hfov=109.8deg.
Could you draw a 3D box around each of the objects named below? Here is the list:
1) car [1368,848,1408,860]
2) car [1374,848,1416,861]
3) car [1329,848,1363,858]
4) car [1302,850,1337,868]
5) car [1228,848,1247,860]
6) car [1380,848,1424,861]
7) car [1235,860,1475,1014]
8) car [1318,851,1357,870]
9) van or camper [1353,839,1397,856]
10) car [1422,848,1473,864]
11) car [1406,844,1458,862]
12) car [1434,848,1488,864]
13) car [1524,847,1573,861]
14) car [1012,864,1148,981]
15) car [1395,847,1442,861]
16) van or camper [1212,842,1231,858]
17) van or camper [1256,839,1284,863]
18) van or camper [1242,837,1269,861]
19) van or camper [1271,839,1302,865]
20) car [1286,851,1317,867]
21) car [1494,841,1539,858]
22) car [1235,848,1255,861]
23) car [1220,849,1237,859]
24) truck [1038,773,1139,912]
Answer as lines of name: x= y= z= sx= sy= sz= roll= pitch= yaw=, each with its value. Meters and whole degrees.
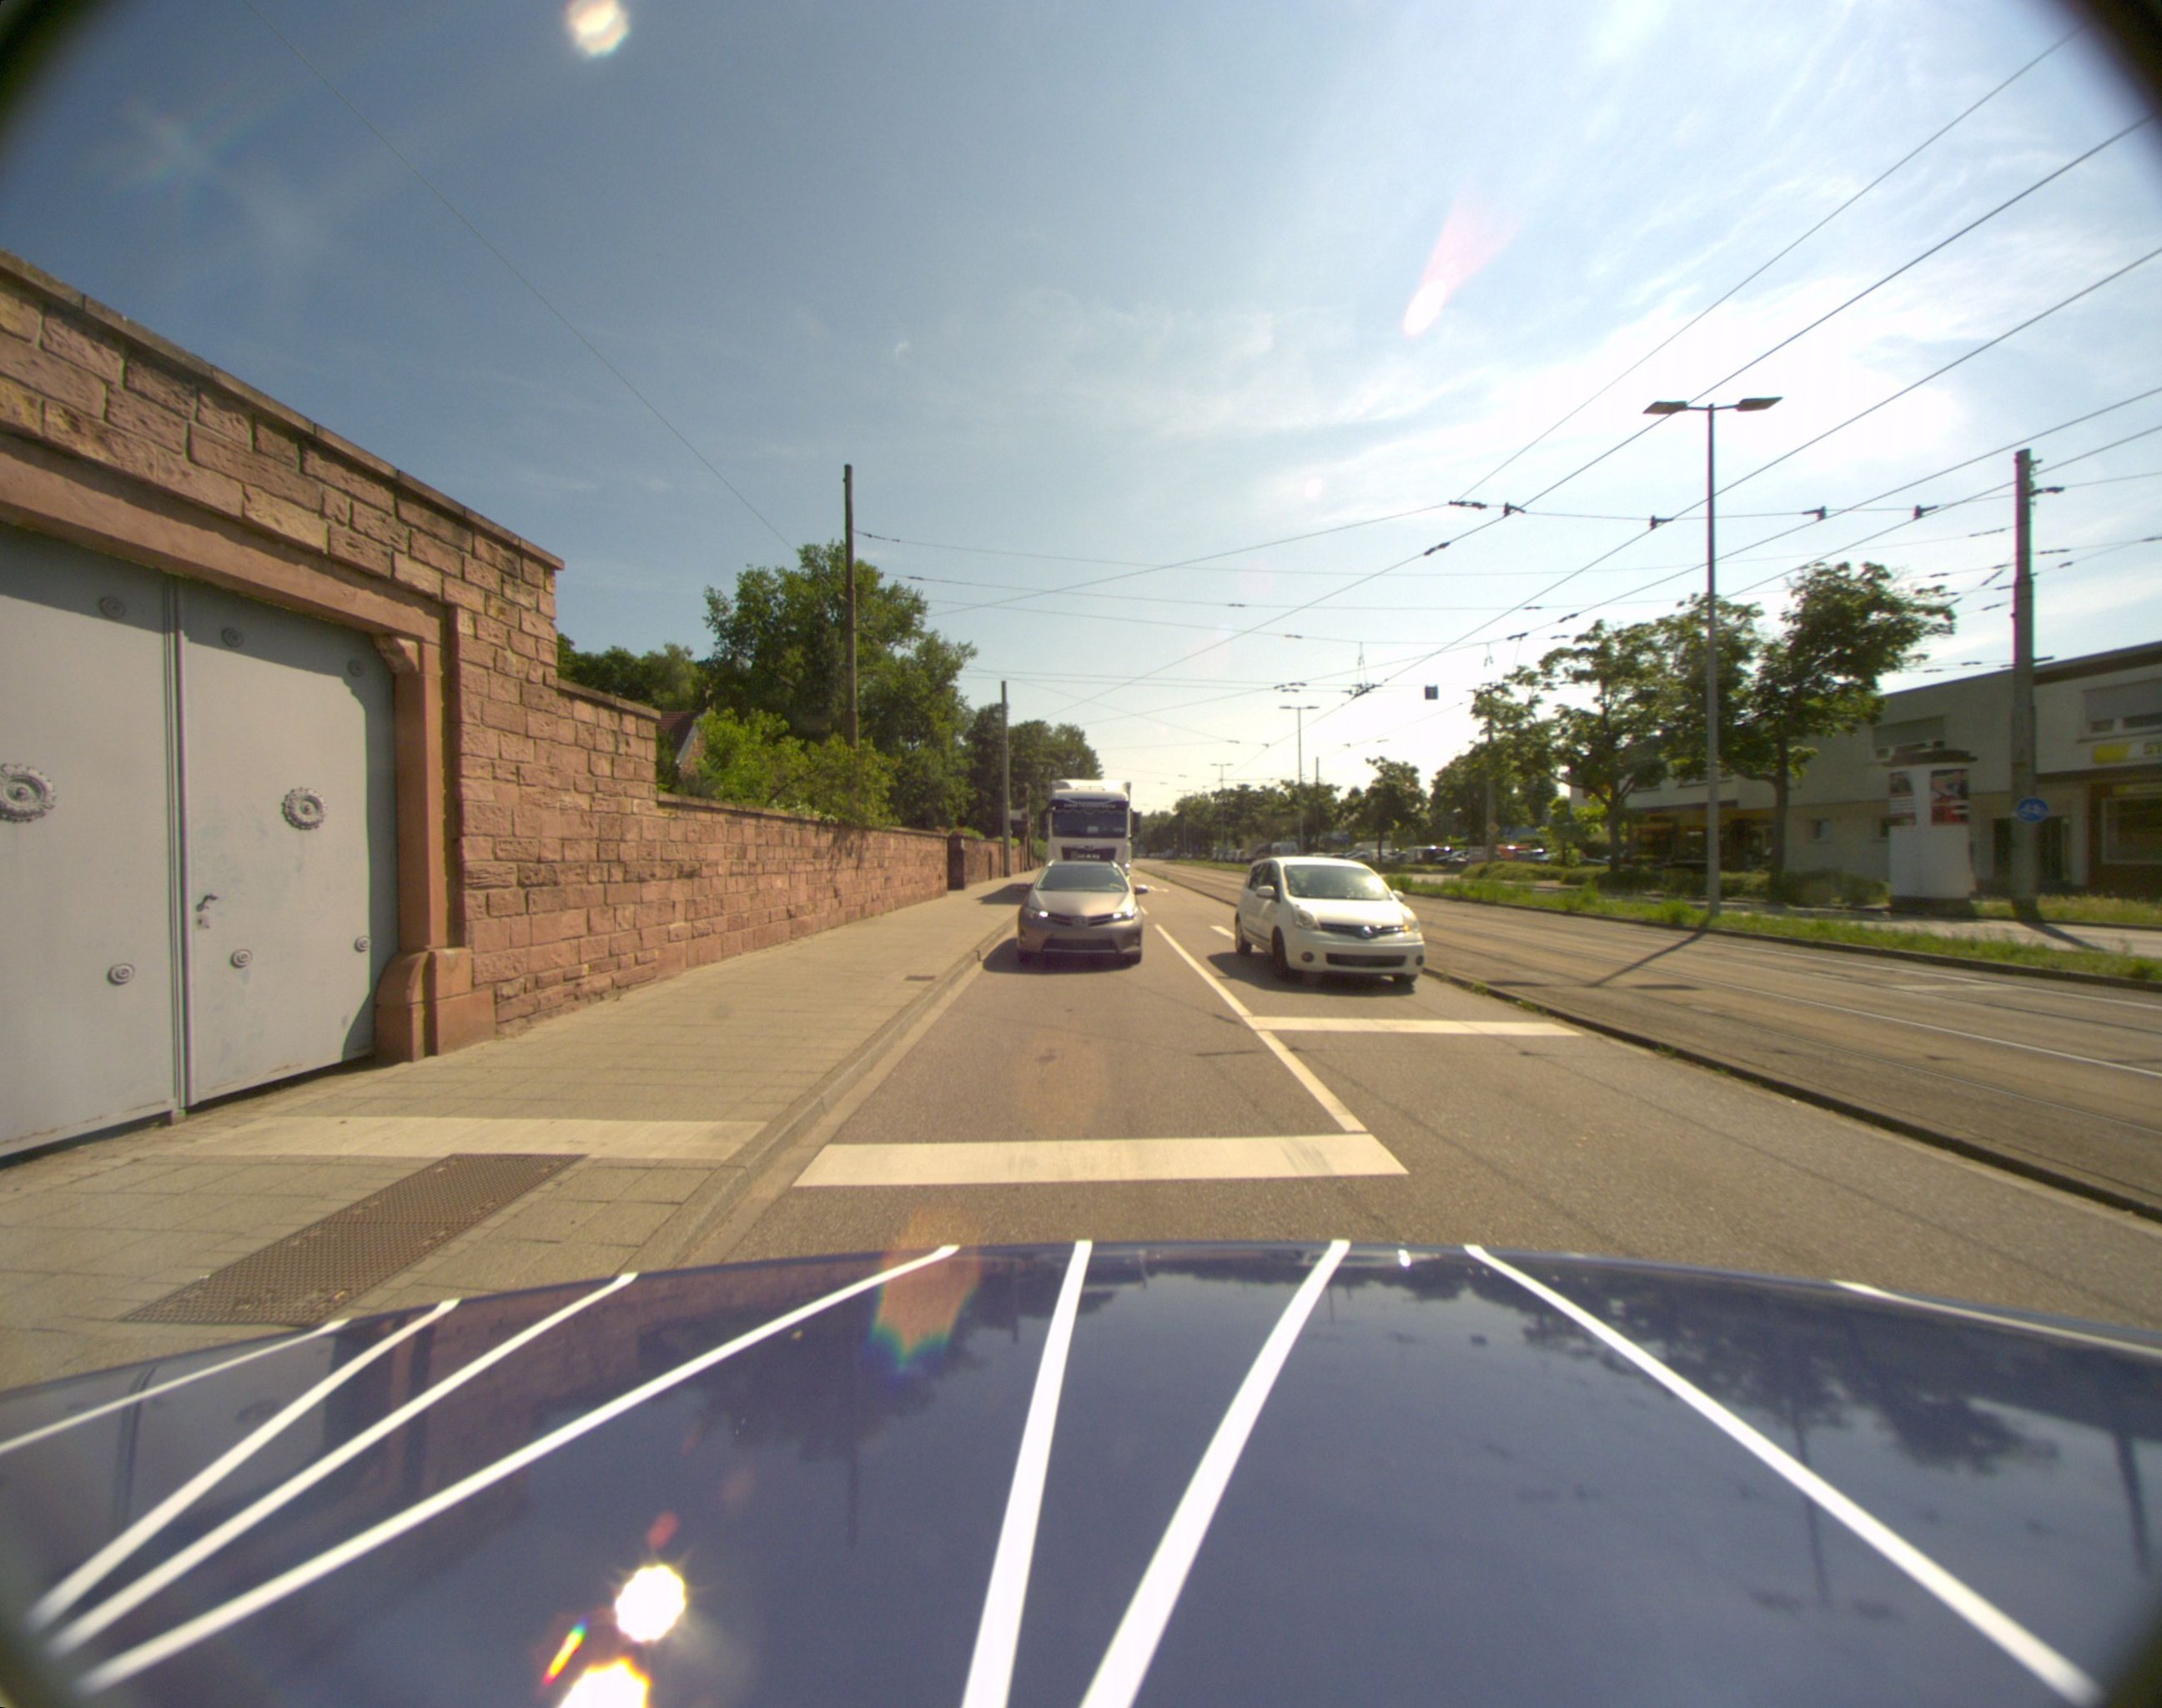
car: x=32.890 y=0.007 z=81.416 sx=3.624 sy=1.274 sz=1.712 roll=0 pitch=1 yaw=0
car: x=32.502 y=0.035 z=78.673 sx=3.624 sy=1.274 sz=1.712 roll=0 pitch=1 yaw=0
car: x=33.383 y=-0.155 z=95.759 sx=3.624 sy=1.274 sz=1.712 roll=0 pitch=1 yaw=0
car: x=21.539 y=0.401 z=68.723 sx=1.892 sy=1.551 sz=4.285 roll=0 pitch=0 yaw=1
car: x=22.578 y=-0.046 z=109.982 sx=1.892 sy=1.757 sz=4.232 roll=0 pitch=0 yaw=1
car: x=32.172 y=0.057 z=76.214 sx=3.624 sy=1.274 sz=1.812 roll=0 pitch=1 yaw=0
car: x=3.290 y=0.889 z=10.042 sx=1.770 sy=1.552 sz=4.067 roll=1 pitch=0 yaw=1
car: x=21.369 y=0.508 z=63.465 sx=1.892 sy=1.486 sz=4.285 roll=-3 pitch=0 yaw=2
van or camper: x=46.591 y=-1.059 z=120.580 sx=6.081 sy=2.715 sz=2.299 roll=0 pitch=1 yaw=3
car: x=31.700 y=0.138 z=65.778 sx=3.624 sy=1.353 sz=1.712 roll=0 pitch=1 yaw=0
car: x=31.489 y=-0.074 z=68.247 sx=3.749 sy=1.560 sz=1.951 roll=0 pitch=1 yaw=0
car: x=31.461 y=0.167 z=63.038 sx=3.624 sy=1.353 sz=1.712 roll=0 pitch=1 yaw=0
car: x=44.836 y=0.014 z=72.959 sx=3.624 sy=1.353 sz=1.712 roll=0 pitch=1 yaw=0
car: x=0.040 y=0.912 z=12.006 sx=1.742 sy=1.424 sz=4.462 roll=0 pitch=0 yaw=1
car: x=31.344 y=-0.018 z=70.574 sx=3.624 sy=1.277 sz=1.712 roll=0 pitch=1 yaw=0
van or camper: x=22.550 y=-0.648 z=122.368 sx=2.114 sy=2.604 sz=5.452 roll=1 pitch=1 yaw=1
van or camper: x=21.476 y=-0.335 z=86.552 sx=2.040 sy=2.617 sz=4.839 roll=0 pitch=0 yaw=1
van or camper: x=21.659 y=-0.601 z=94.441 sx=2.128 sy=2.968 sz=5.281 roll=0 pitch=0 yaw=1
van or camper: x=21.440 y=-0.252 z=79.496 sx=2.040 sy=2.617 sz=4.839 roll=0 pitch=0 yaw=1
car: x=21.560 y=0.446 z=74.343 sx=1.892 sy=1.486 sz=4.232 roll=0 pitch=0 yaw=1
car: x=44.733 y=-0.450 z=78.027 sx=3.624 sy=1.767 sz=1.712 roll=0 pitch=1 yaw=0
car: x=22.219 y=0.002 z=103.050 sx=1.892 sy=1.724 sz=4.232 roll=0 pitch=0 yaw=1
car: x=22.503 y=-0.029 z=115.986 sx=1.892 sy=1.551 sz=4.232 roll=0 pitch=0 yaw=1
truck: x=0.332 y=-0.360 z=25.955 sx=2.746 sy=3.852 sz=9.111 roll=1 pitch=1 yaw=1
